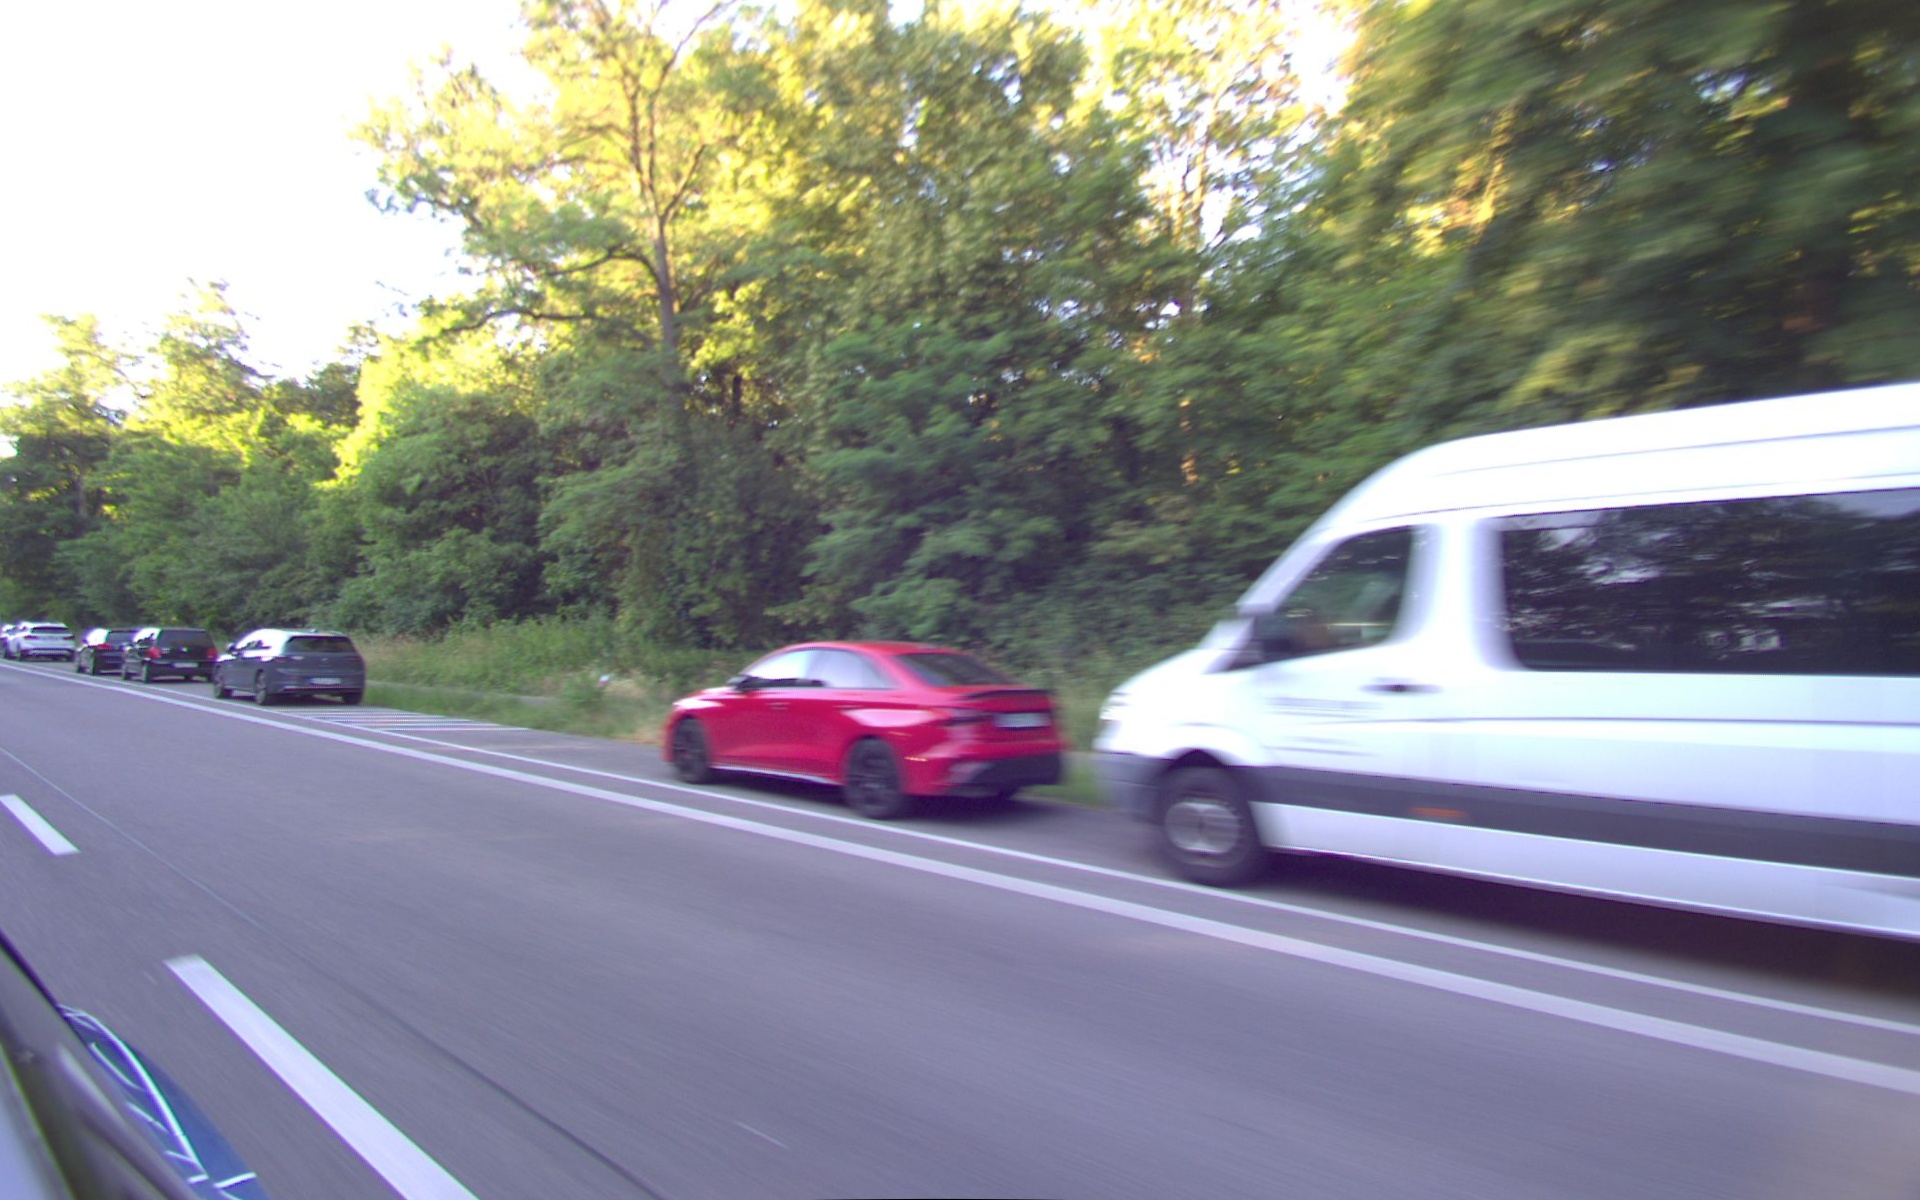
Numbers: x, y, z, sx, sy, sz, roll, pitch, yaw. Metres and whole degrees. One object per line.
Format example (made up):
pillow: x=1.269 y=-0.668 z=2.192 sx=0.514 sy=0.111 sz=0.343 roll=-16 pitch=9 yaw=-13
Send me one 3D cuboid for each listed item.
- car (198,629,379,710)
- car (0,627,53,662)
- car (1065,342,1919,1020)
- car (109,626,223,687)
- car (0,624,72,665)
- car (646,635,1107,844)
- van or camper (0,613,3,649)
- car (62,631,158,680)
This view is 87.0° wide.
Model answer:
car: x=-13.688 y=1.369 z=20.544 sx=4.224 sy=1.474 sz=1.827 roll=-2 pitch=-4 yaw=39
car: x=-42.911 y=2.034 z=46.170 sx=3.732 sy=1.532 sz=1.655 roll=-2 pitch=-4 yaw=39
car: x=4.043 y=0.369 z=5.014 sx=7.085 sy=2.626 sz=2.057 roll=-1 pitch=-5 yaw=41
car: x=-21.428 y=1.501 z=27.273 sx=3.654 sy=1.520 sz=1.694 roll=-1 pitch=-4 yaw=41
car: x=-38.986 y=1.855 z=42.562 sx=4.568 sy=1.658 sz=1.678 roll=-2 pitch=-4 yaw=39
car: x=-0.953 y=1.071 z=9.312 sx=4.387 sy=1.441 sz=1.697 roll=-1 pitch=-3 yaw=42
van or camper: x=-59.551 y=1.970 z=60.832 sx=6.376 sy=2.409 sz=2.089 roll=-1 pitch=-5 yaw=40
car: x=-26.128 y=1.670 z=31.084 sx=4.049 sy=1.405 sz=1.581 roll=-1 pitch=-3 yaw=41
